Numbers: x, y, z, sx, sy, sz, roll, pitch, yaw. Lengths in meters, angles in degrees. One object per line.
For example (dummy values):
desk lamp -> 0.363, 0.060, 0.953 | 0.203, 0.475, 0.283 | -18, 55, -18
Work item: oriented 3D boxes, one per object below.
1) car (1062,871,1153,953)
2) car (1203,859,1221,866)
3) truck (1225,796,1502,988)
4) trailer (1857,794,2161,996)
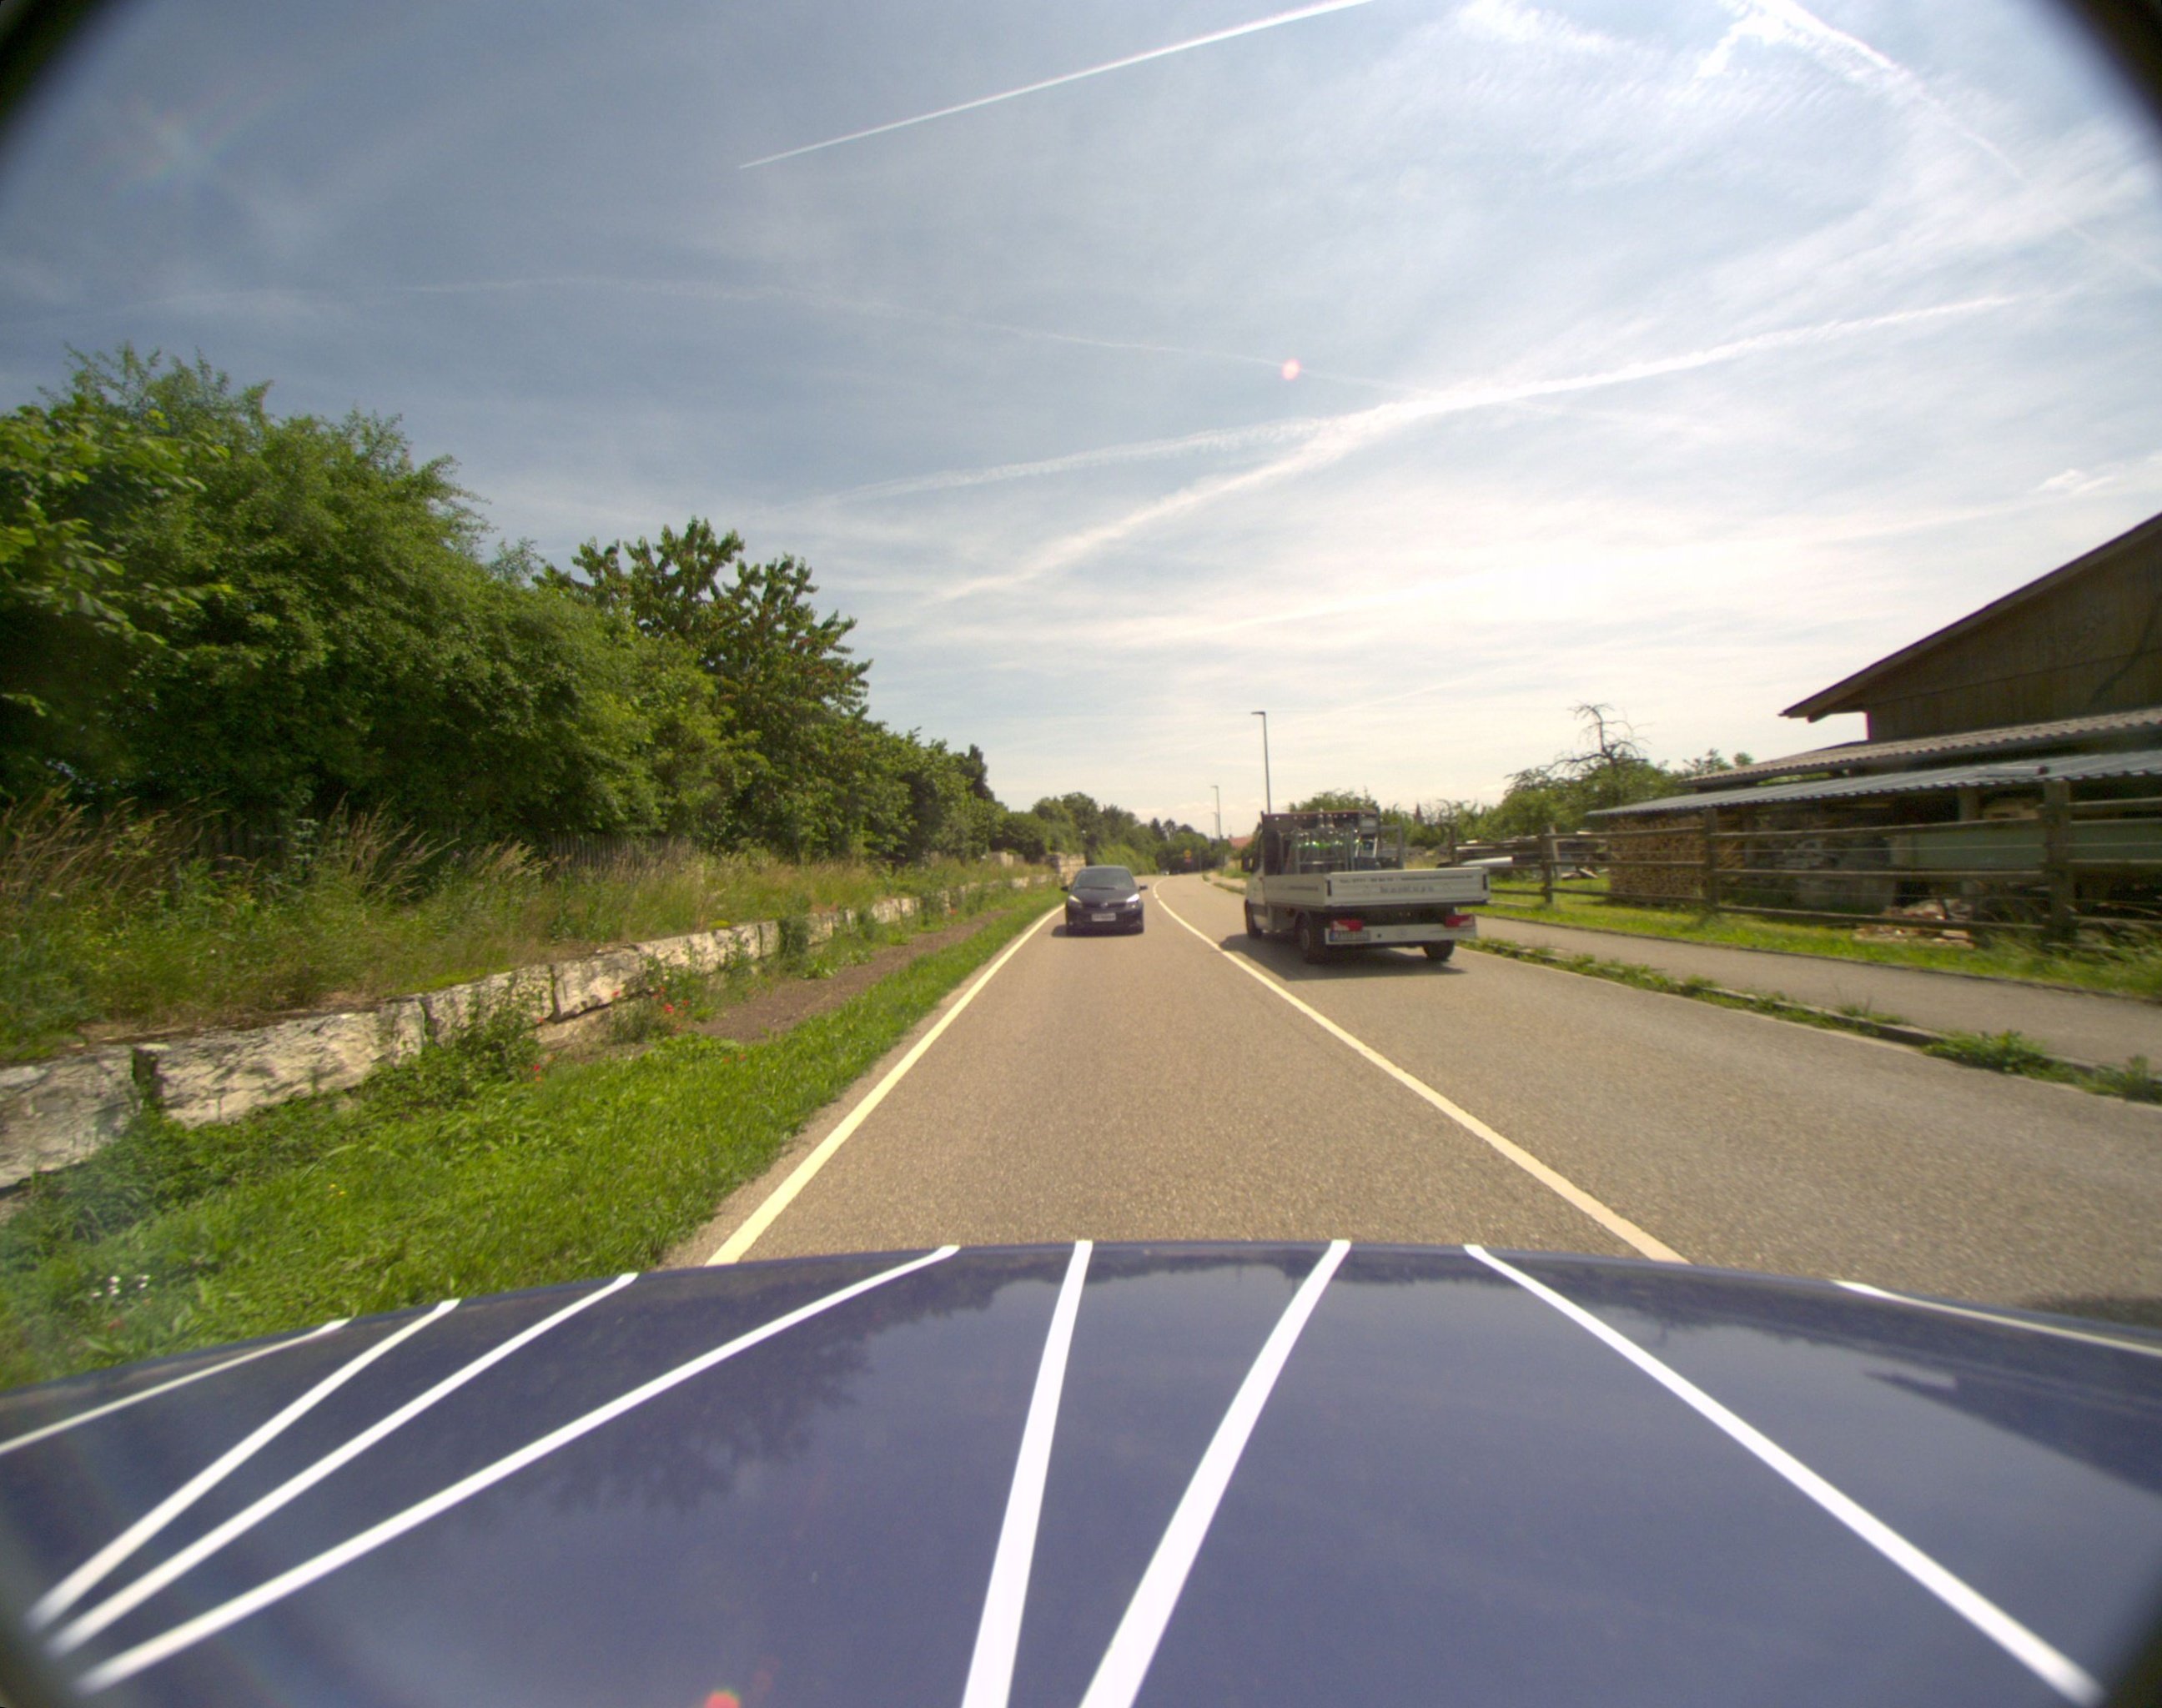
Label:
car -> 0.558, 1.125, 16.403 | 1.677, 1.456, 4.433 | -1, -1, 2
car -> 39.172, 2.548, 227.050 | 4.692, 2.002, 2.003 | -3, 0, 20
truck -> 4.092, 0.480, 12.592 | 2.228, 2.279, 6.492 | -2, 0, 1
trailer -> 10.125, 0.307, 6.353 | 2.160, 1.693, 5.030 | -2, 0, 1
